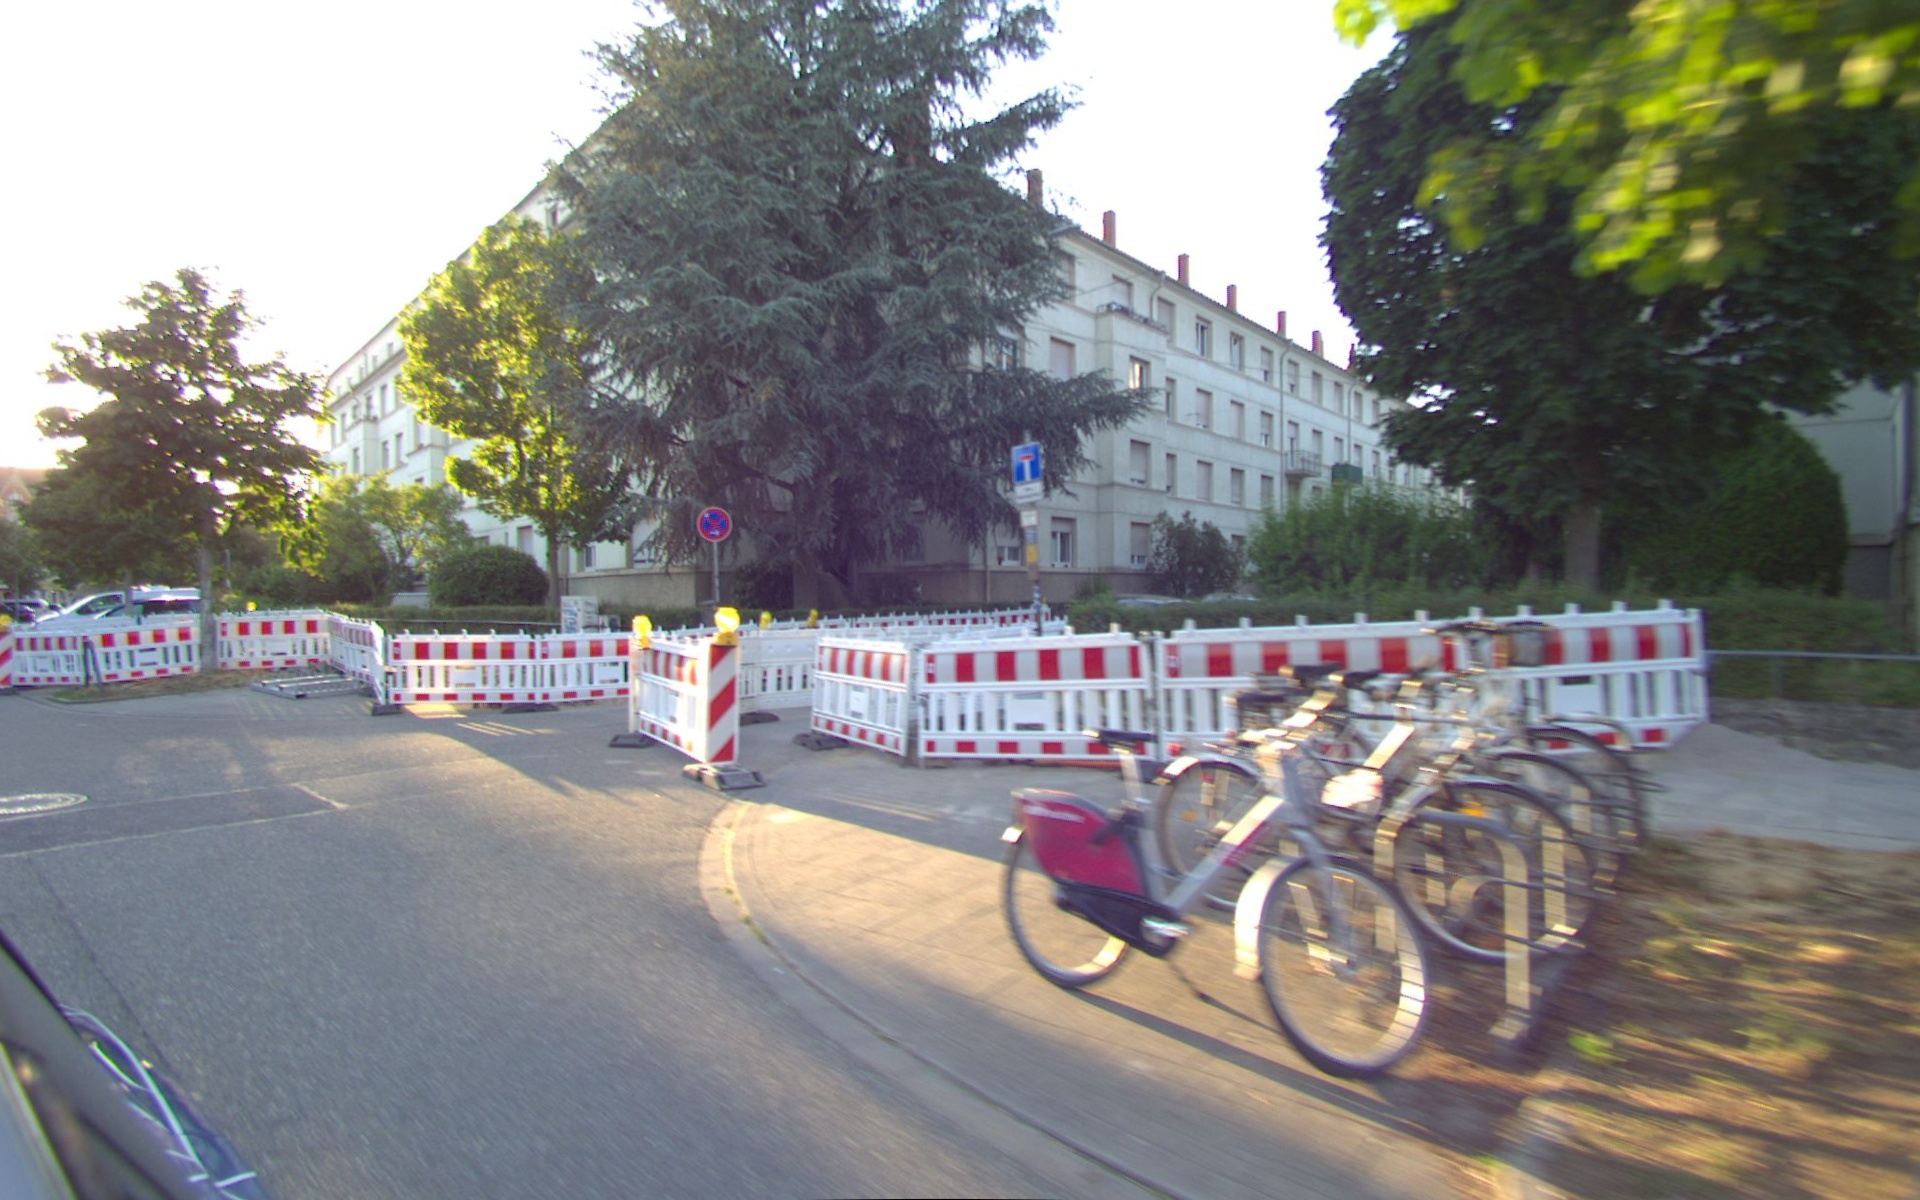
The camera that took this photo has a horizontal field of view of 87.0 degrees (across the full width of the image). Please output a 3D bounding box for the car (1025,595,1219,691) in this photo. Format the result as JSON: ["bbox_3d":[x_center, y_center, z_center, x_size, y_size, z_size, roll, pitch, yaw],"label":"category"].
[{"bbox_3d":[2.965,0.672,18.032,1.786,1.471,3.702,2,1,39],"label":"car"}]

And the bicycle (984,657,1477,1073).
[{"bbox_3d":[0.850,0.776,3.529,1.628,1.104,0.442,-1,-1,42],"label":"bicycle"}]

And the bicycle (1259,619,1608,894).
[{"bbox_3d":[2.249,0.684,4.956,1.526,1.167,0.276,-1,0,42],"label":"bicycle"}]

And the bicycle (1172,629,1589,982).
[{"bbox_3d":[1.594,0.714,4.038,1.526,1.167,0.276,-1,0,42],"label":"bicycle"}]

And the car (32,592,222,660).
[{"bbox_3d":[-27.351,0.788,33.333,4.719,2.085,2.002,-1,0,-44],"label":"car"}]

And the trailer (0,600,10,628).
[{"bbox_3d":[-73.675,1.102,75.585,3.628,2.084,2.005,-1,0,-35],"label":"trailer"}]

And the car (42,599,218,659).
[{"bbox_3d":[-25.572,0.852,31.238,4.072,1.696,2.002,-1,0,-44],"label":"car"}]

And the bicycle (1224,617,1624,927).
[{"bbox_3d":[1.958,0.700,4.453,1.526,1.167,0.276,-5,-3,42],"label":"bicycle"}]
